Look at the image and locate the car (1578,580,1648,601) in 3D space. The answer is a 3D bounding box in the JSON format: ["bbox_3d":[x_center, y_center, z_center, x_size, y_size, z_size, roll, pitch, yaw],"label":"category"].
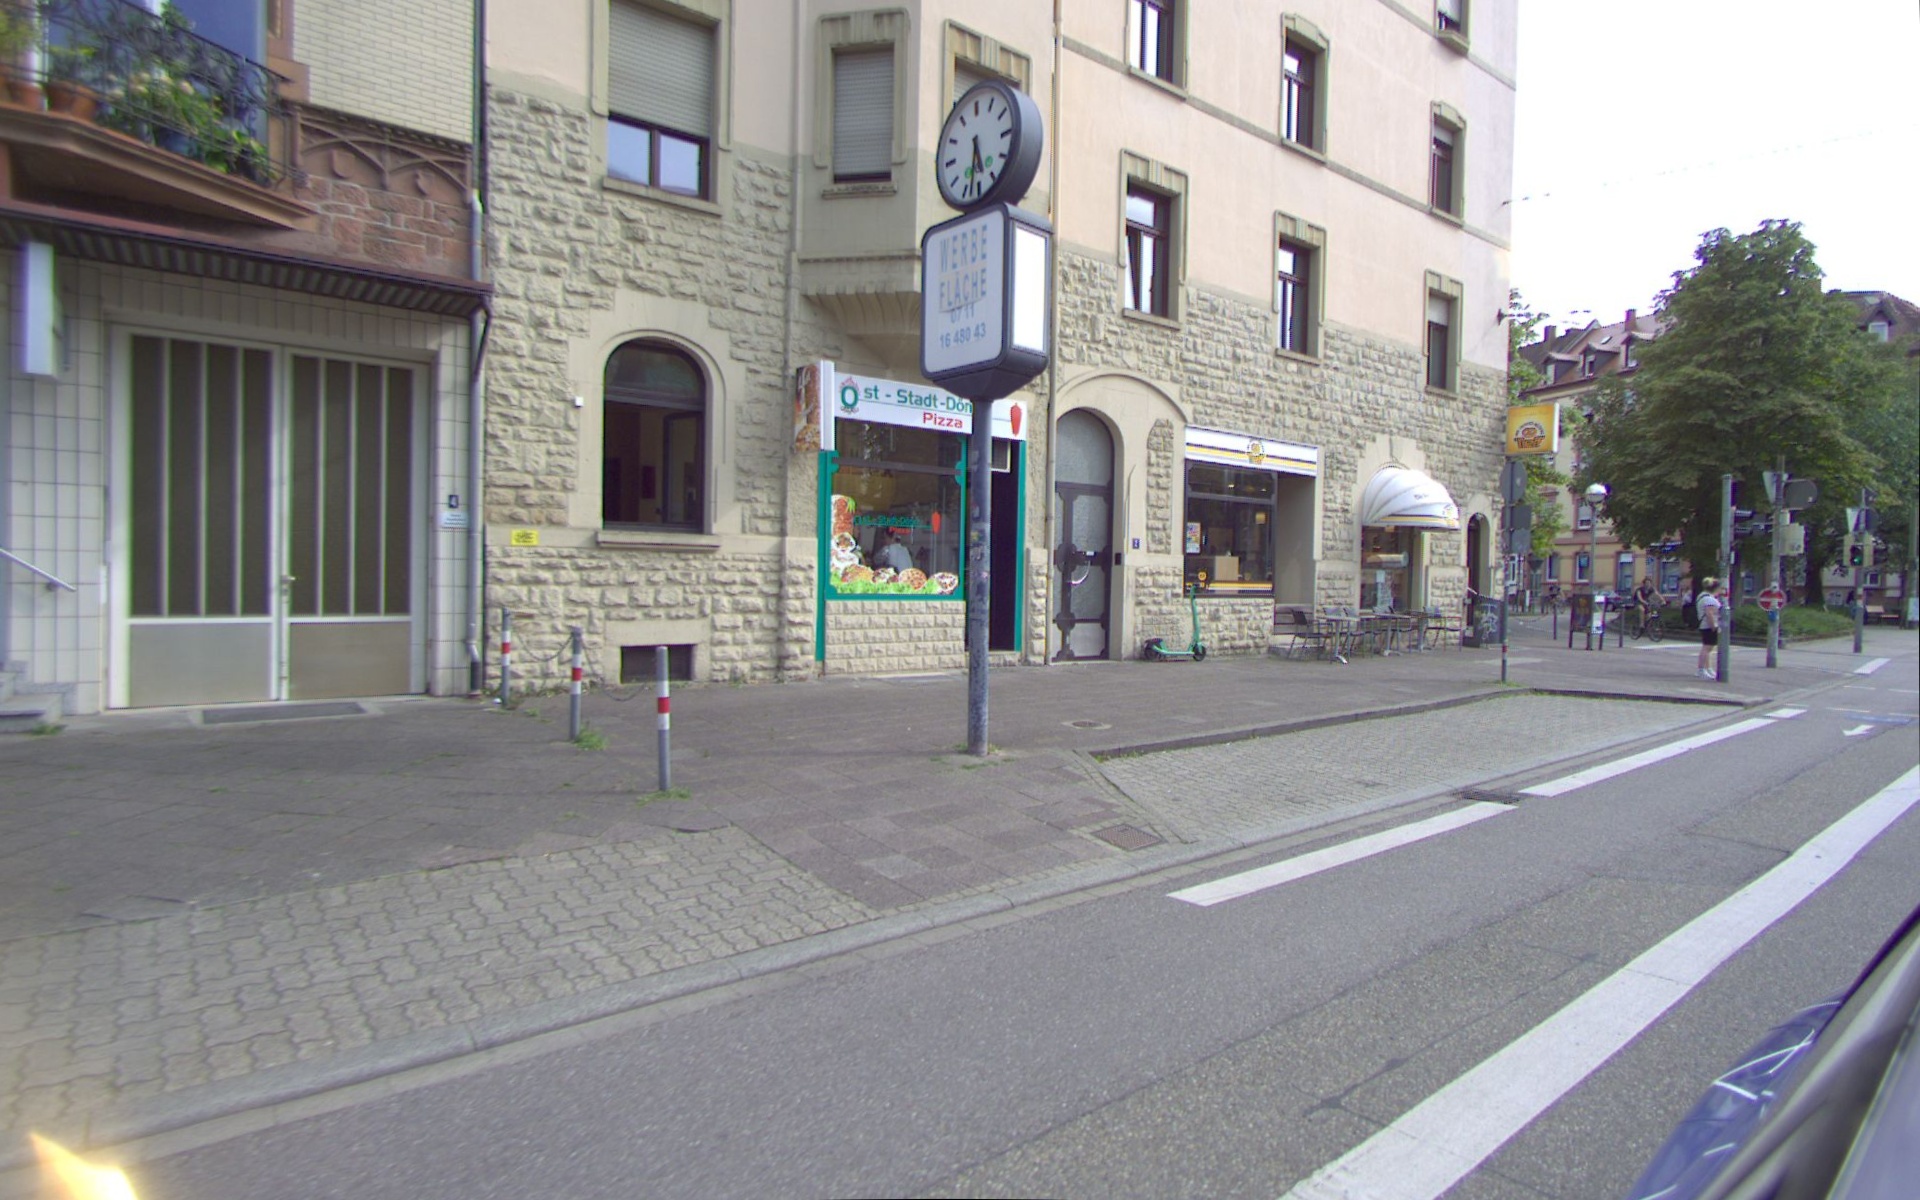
[{"bbox_3d":[41.909,-0.621,65.018,1.703,1.282,3.597,0,1,-13],"label":"car"}]

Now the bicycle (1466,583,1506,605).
[{"bbox_3d":[27.114,-0.322,52.181,1.786,1.051,0.475,2,0,41],"label":"bicycle"}]

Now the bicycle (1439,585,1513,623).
[{"bbox_3d":[15.453,0.116,30.287,2.007,1.051,0.483,2,0,-6],"label":"bicycle"}]

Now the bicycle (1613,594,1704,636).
[{"bbox_3d":[20.136,0.403,29.291,0.872,1.058,3.090,1,2,9],"label":"bicycle"}]

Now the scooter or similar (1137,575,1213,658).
[{"bbox_3d":[3.241,0.237,15.222,1.174,1.182,0.398,0,3,-37],"label":"scooter or similar"}]

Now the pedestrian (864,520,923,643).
[{"bbox_3d":[-0.891,-0.247,13.511,0.551,1.600,0.551,0,1,-37],"label":"pedestrian"}]

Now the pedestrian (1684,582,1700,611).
[{"bbox_3d":[44.107,-0.191,60.997,0.630,1.715,0.612,0,2,-42],"label":"pedestrian"}]

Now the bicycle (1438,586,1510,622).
[{"bbox_3d":[15.779,0.111,31.099,2.007,1.051,0.483,2,0,-6],"label":"bicycle"}]

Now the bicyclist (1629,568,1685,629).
[{"bbox_3d":[20.145,-0.064,29.276,0.825,1.711,1.243,1,1,9],"label":"bicyclist"}]

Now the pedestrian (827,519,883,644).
[{"bbox_3d":[-1.375,-0.244,13.239,0.498,1.600,0.561,0,1,-37],"label":"pedestrian"}]

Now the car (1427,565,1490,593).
[{"bbox_3d":[38.863,-1.618,79.028,1.702,2.143,4.555,0,1,-18],"label":"car"}]

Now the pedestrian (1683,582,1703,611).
[{"bbox_3d":[44.723,-0.210,61.745,0.765,1.715,0.789,0,2,-40],"label":"pedestrian"}]

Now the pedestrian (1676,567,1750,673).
[{"bbox_3d":[12.692,0.313,17.066,0.746,1.680,0.721,0,6,-40],"label":"pedestrian"}]
